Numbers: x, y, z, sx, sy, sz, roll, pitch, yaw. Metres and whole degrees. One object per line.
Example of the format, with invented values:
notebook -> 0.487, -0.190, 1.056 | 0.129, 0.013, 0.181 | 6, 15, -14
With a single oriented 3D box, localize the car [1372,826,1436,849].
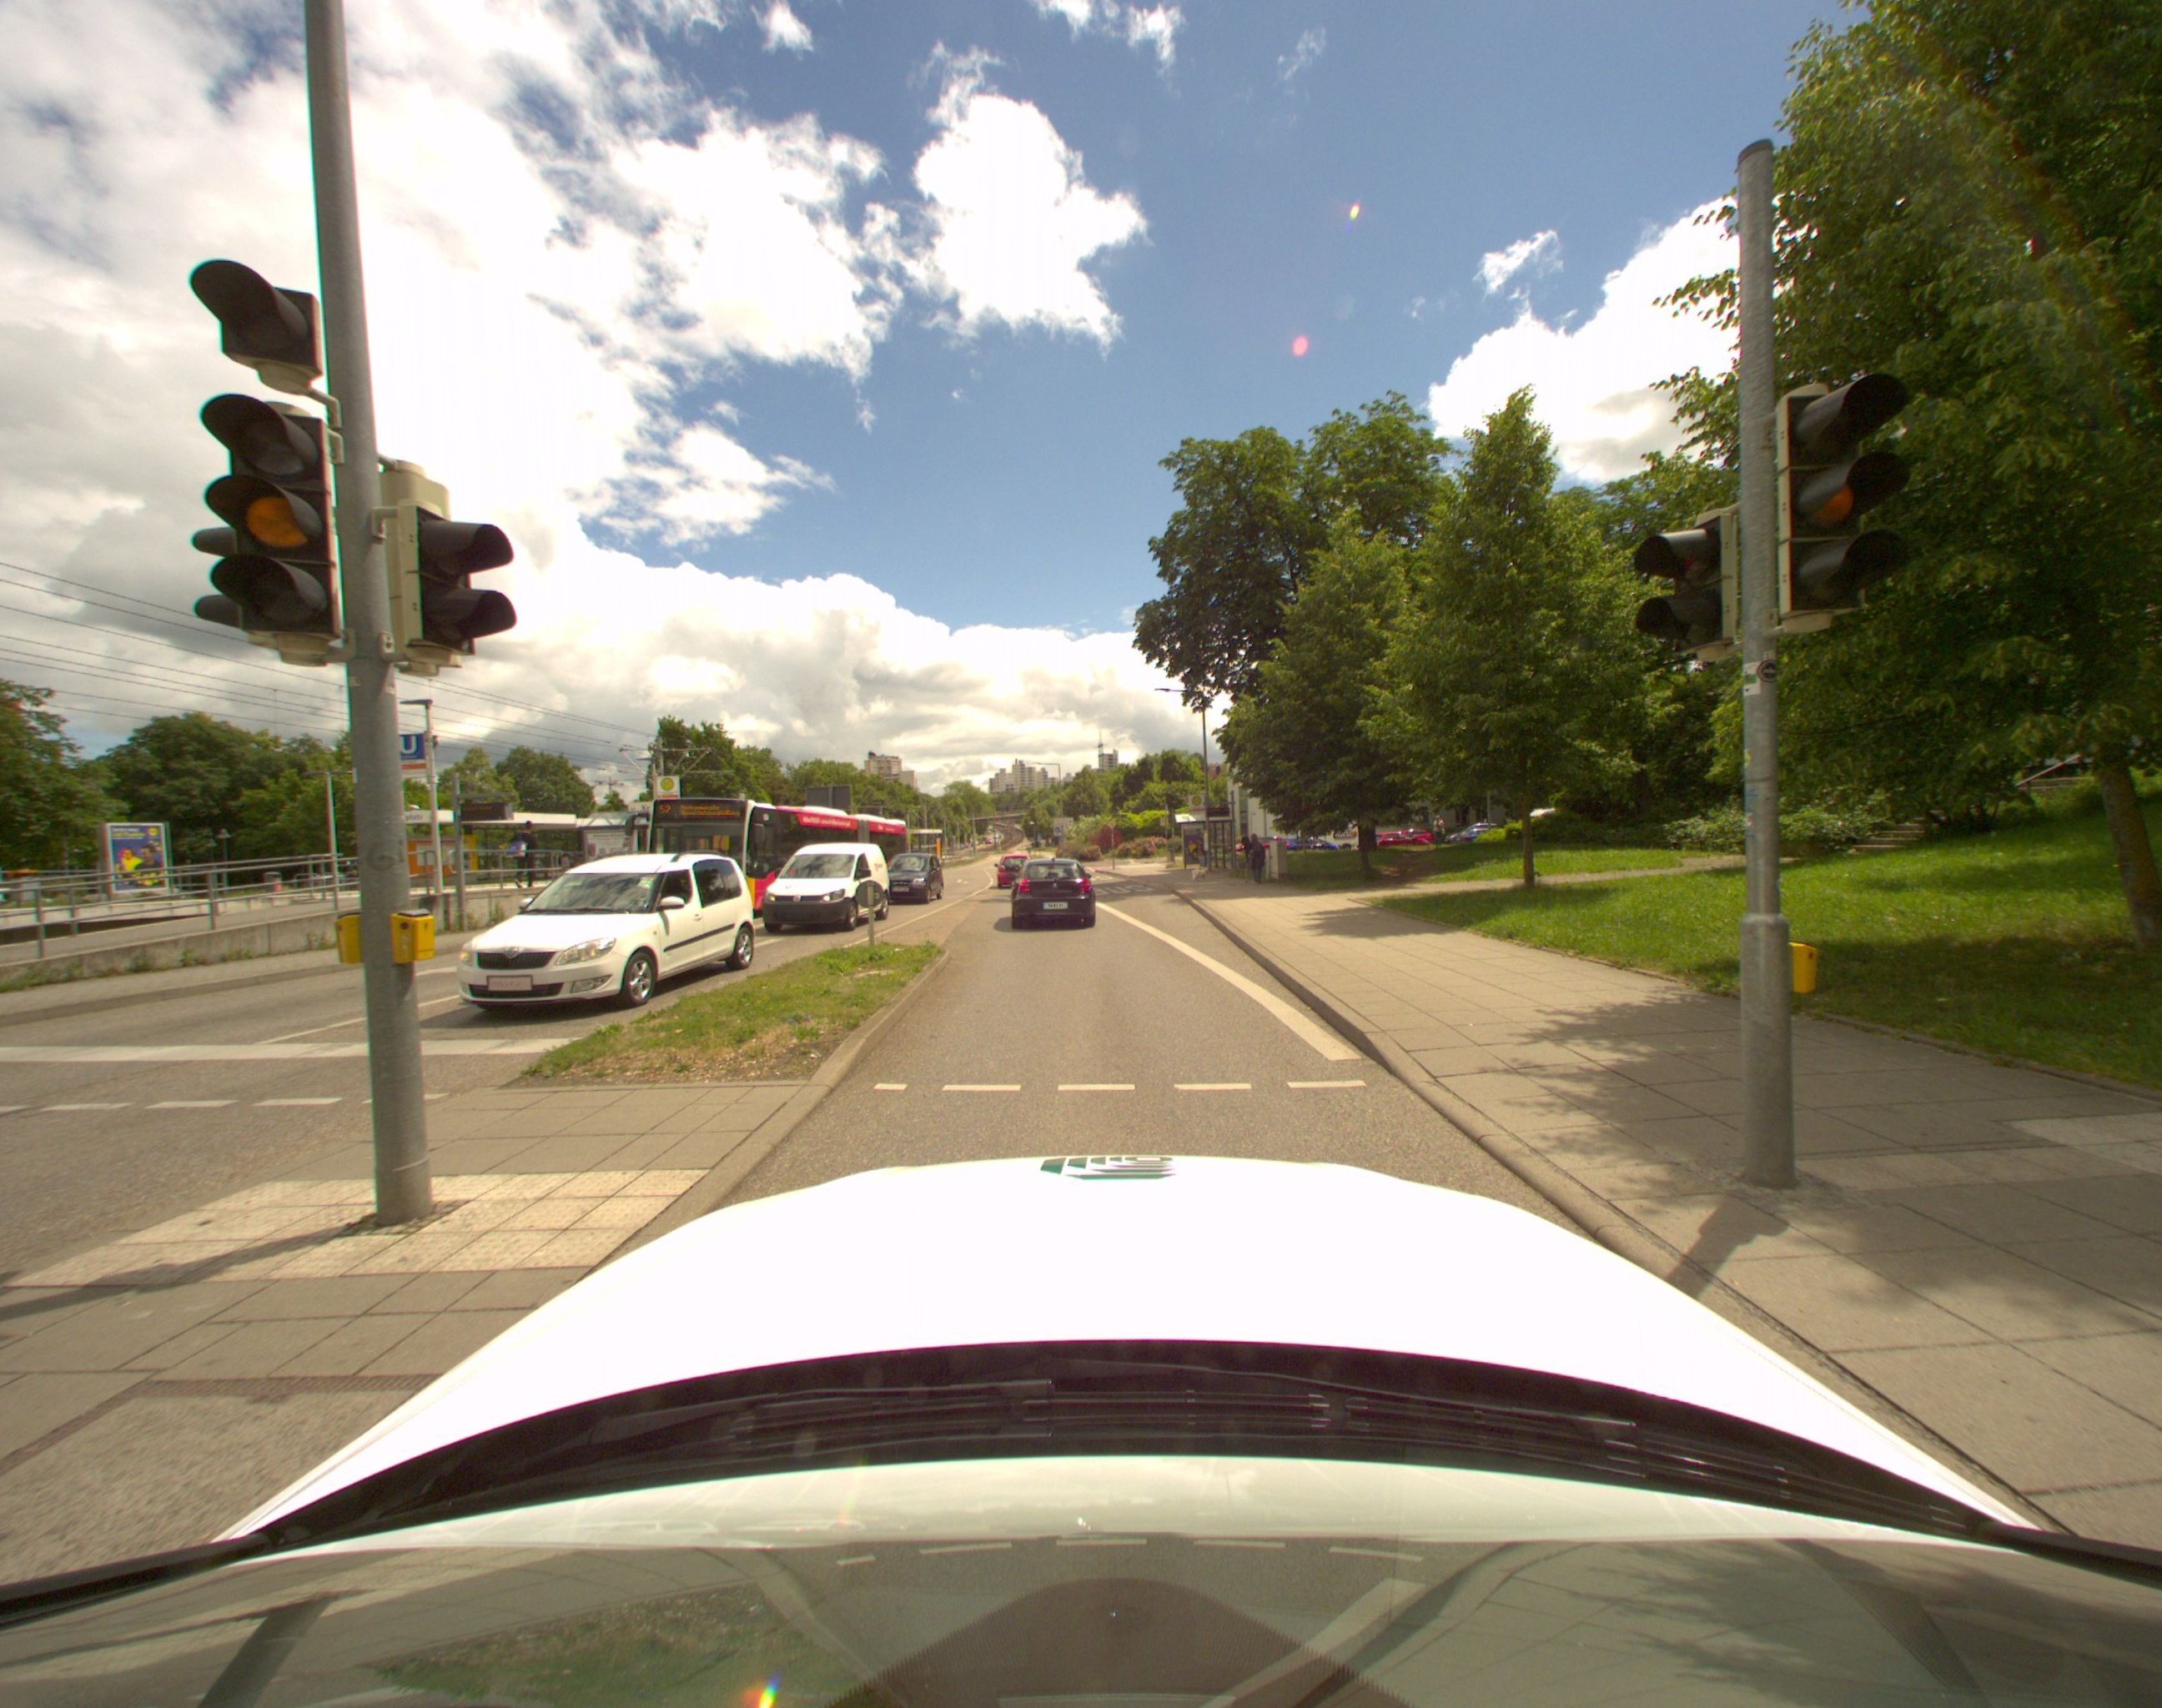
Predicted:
car -> 24.573, -1.284, 62.038 | 4.071, 1.502, 1.998 | -4, 2, -3

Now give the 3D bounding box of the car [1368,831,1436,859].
car -> 20.723, -0.602, 52.676 | 3.678, 1.643, 1.828 | -2, 2, -3

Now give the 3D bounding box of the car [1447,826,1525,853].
car -> 26.333, -0.955, 53.069 | 4.071, 1.559, 1.997 | -3, 1, -5

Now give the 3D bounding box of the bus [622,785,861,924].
bus -> -9.116, -0.087, 23.600 | 2.717, 3.109, 9.704 | -2, 1, 0

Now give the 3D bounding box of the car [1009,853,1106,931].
car -> -0.556, 0.753, 17.830 | 1.811, 1.421, 3.995 | -3, 0, -3

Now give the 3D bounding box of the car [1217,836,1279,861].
car -> 12.526, -0.424, 61.192 | 4.151, 1.561, 1.996 | -3, 3, -6

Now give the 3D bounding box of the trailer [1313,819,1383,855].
trailer -> 20.213, -1.295, 61.835 | 4.526, 2.486, 2.220 | -2, 2, -3

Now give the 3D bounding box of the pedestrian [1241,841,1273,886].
pedestrian -> 5.726, 0.309, 26.559 | 0.817, 1.424, 0.830 | -2, -1, 0

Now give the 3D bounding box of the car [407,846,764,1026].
car -> -5.442, 0.750, 9.682 | 1.693, 1.648, 4.078 | -1, 0, 0

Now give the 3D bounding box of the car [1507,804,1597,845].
car -> 36.110, -2.234, 62.505 | 5.562, 2.866, 2.203 | -3, 0, -2

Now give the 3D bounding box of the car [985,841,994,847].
car -> -24.619, -2.607, 218.802 | 1.710, 1.502, 2.973 | -2, 1, 7

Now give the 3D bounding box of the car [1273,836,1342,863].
car -> 14.455, -0.321, 52.130 | 3.785, 1.456, 1.894 | -4, 2, -4

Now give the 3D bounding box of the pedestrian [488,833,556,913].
pedestrian -> -14.574, 0.490, 21.269 | 0.967, 2.013, 1.029 | -3, -1, 2

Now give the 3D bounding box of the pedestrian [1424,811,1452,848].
pedestrian -> 17.697, -1.183, 40.382 | 0.980, 1.760, 0.860 | -3, 0, 9

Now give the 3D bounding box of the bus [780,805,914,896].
bus -> -9.071, -0.160, 32.881 | 2.717, 3.069, 8.962 | -2, 0, 0

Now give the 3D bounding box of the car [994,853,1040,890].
car -> -2.840, 0.736, 35.605 | 1.764, 1.432, 3.470 | -3, 0, -7

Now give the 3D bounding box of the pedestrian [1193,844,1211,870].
pedestrian -> 6.100, 0.133, 41.070 | 0.824, 1.259, 0.686 | -3, 1, 2

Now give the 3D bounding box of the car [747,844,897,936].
car -> -5.475, 0.698, 17.899 | 1.756, 1.662, 4.505 | -3, 0, 0

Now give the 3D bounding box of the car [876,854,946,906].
car -> -5.383, 0.769, 26.188 | 1.525, 1.551, 3.730 | -1, 0, -1
